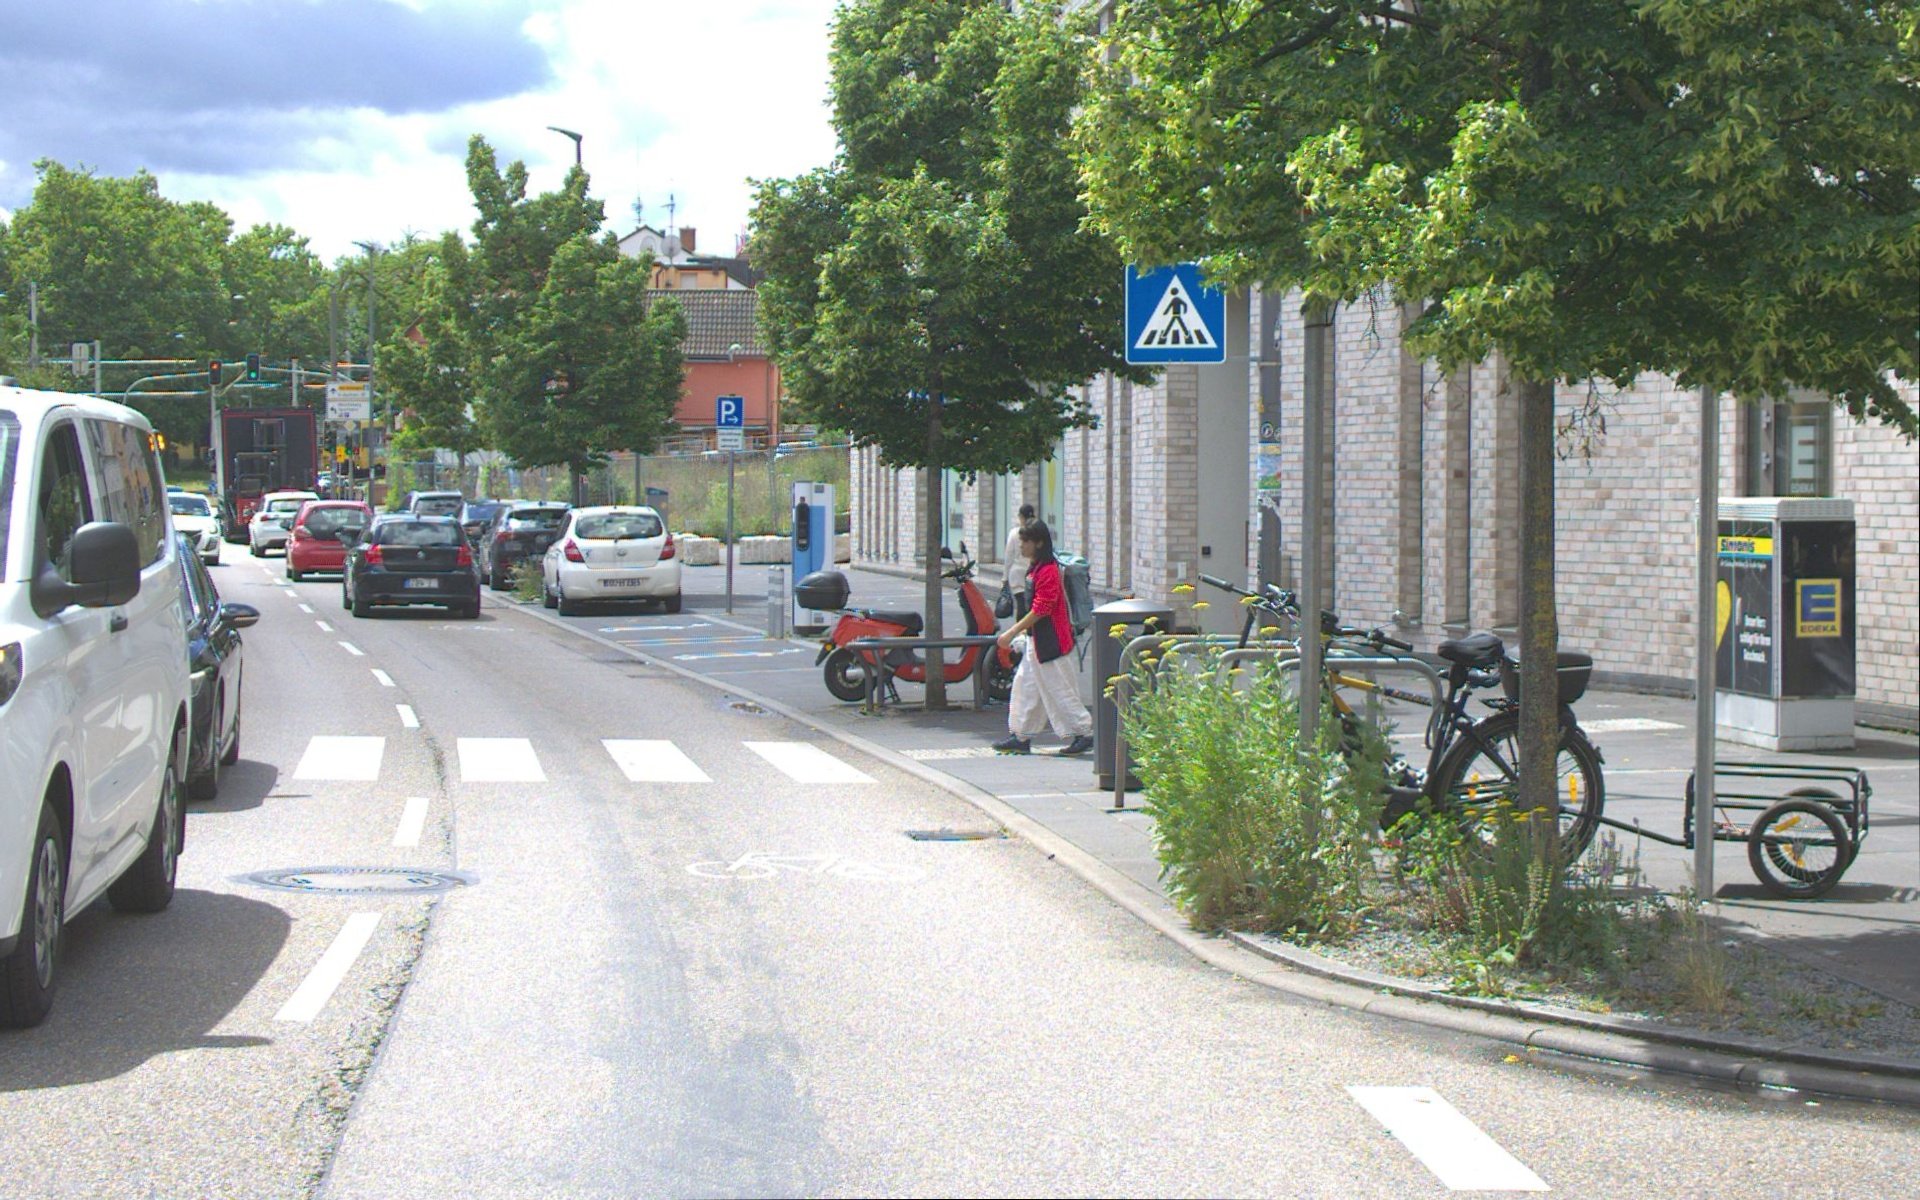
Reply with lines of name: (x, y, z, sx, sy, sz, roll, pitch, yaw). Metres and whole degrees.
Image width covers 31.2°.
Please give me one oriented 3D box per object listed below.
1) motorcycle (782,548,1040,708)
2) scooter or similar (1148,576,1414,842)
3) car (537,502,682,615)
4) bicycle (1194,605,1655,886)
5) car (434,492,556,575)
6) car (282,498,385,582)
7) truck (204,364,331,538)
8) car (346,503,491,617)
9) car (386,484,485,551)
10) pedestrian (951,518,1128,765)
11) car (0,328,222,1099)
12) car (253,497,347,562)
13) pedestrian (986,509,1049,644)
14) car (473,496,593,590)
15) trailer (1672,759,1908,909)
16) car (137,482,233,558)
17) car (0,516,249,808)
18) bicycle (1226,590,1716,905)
motorcycle: (-0.398, 0.227, 28.507, 2.050, 1.261, 0.672, -1, 1, 5)
scooter or similar: (1.547, 0.517, 16.634, 1.196, 1.245, 0.494, -1, 1, -6)
car: (-5.018, -0.625, 48.908, 1.692, 1.478, 3.799, -1, 2, -11)
bicycle: (1.971, 0.605, 14.738, 1.822, 1.127, 0.756, -1, 1, -6)
car: (-8.758, -1.275, 64.485, 1.864, 1.446, 4.645, -1, 2, -12)
car: (-11.331, -1.108, 62.031, 1.711, 1.388, 3.810, -1, 3, -12)
truck: (-19.500, -4.068, 96.486, 3.202, 4.520, 9.031, 1, 0, -13)
car: (-7.565, -0.588, 47.827, 1.726, 1.451, 3.810, -1, 3, -13)
car: (-12.058, -1.915, 78.858, 1.781, 1.446, 4.478, -2, 3, -14)
pedestrian: (0.510, 0.266, 22.389, 0.927, 1.560, 0.815, 1, 0, -14)
car: (-3.773, 0.198, 11.510, 1.993, 2.007, 5.395, 2, 1, -7)
car: (-15.508, -1.665, 80.668, 1.887, 1.460, 4.071, -1, 2, -14)
pedestrian: (0.641, -0.269, 38.361, 0.607, 1.467, 0.791, -1, 2, -4)
car: (-7.240, -0.990, 58.000, 1.692, 1.456, 4.148, -1, 2, -11)
trailer: (3.321, 0.930, 13.819, 0.719, 0.526, 0.811, 1, 1, -2)
car: (-15.778, -1.652, 70.105, 1.811, 1.464, 3.909, 1, 2, -12)
car: (-5.080, 0.273, 19.777, 1.772, 1.459, 4.236, 1, 1, -10)
bicycle: (2.051, 0.579, 13.936, 1.822, 1.197, 0.756, -1, 1, -6)
